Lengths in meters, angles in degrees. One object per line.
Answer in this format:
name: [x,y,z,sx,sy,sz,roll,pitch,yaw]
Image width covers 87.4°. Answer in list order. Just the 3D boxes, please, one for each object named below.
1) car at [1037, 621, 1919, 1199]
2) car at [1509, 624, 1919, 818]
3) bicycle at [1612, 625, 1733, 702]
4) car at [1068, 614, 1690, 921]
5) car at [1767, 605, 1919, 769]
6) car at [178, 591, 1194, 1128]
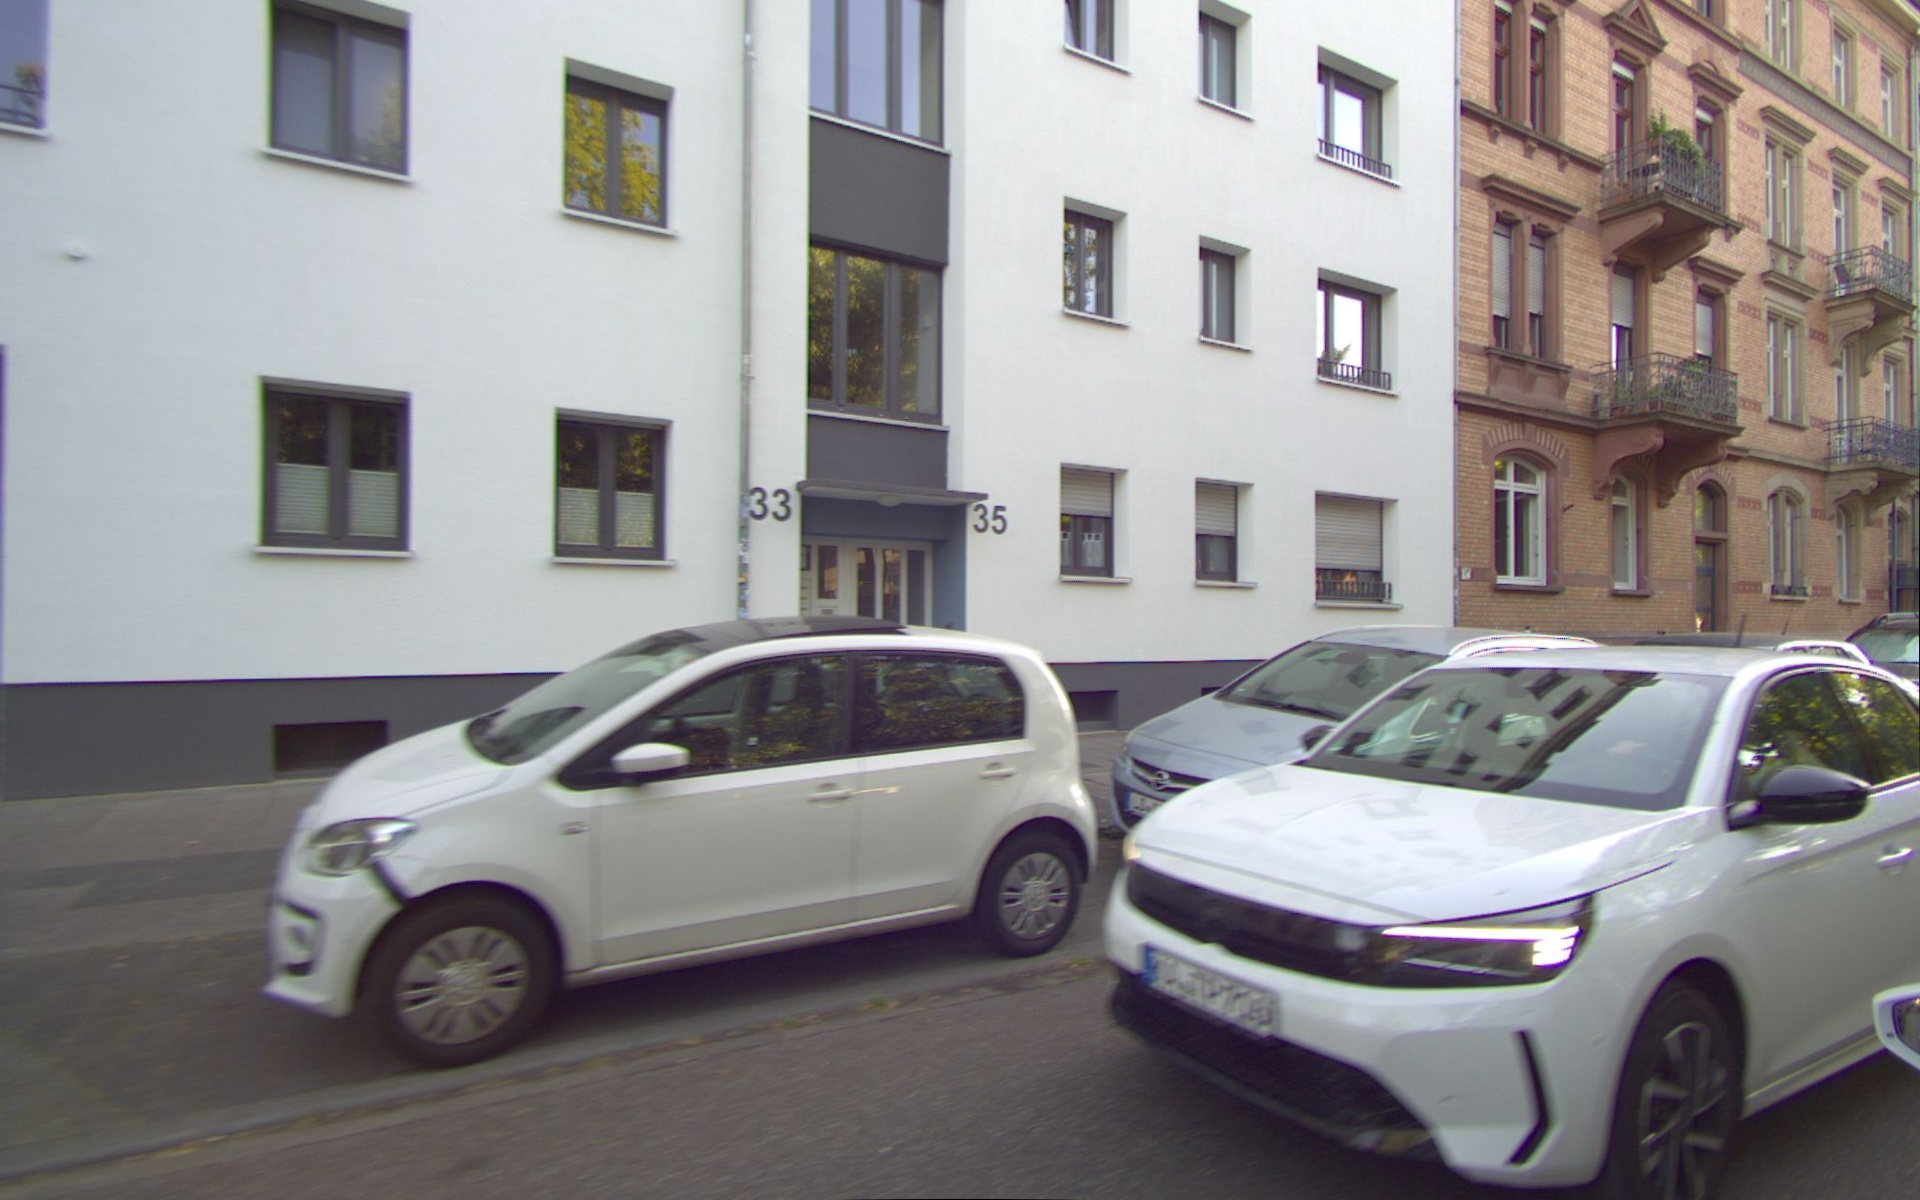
car: [2.400,0.843,3.688,3.952,1.449,1.661,0,-3,-30]
car: [7.223,0.994,9.544,3.950,1.471,1.609,1,1,-28]
bicycle: [12.303,1.065,17.321,2.483,1.223,0.733,0,0,-30]
car: [2.962,0.901,6.876,4.232,1.491,1.660,1,2,-30]
car: [11.658,0.952,12.056,4.152,1.728,1.743,1,0,-31]
car: [-0.981,0.789,4.655,3.954,1.528,1.660,1,2,-31]
